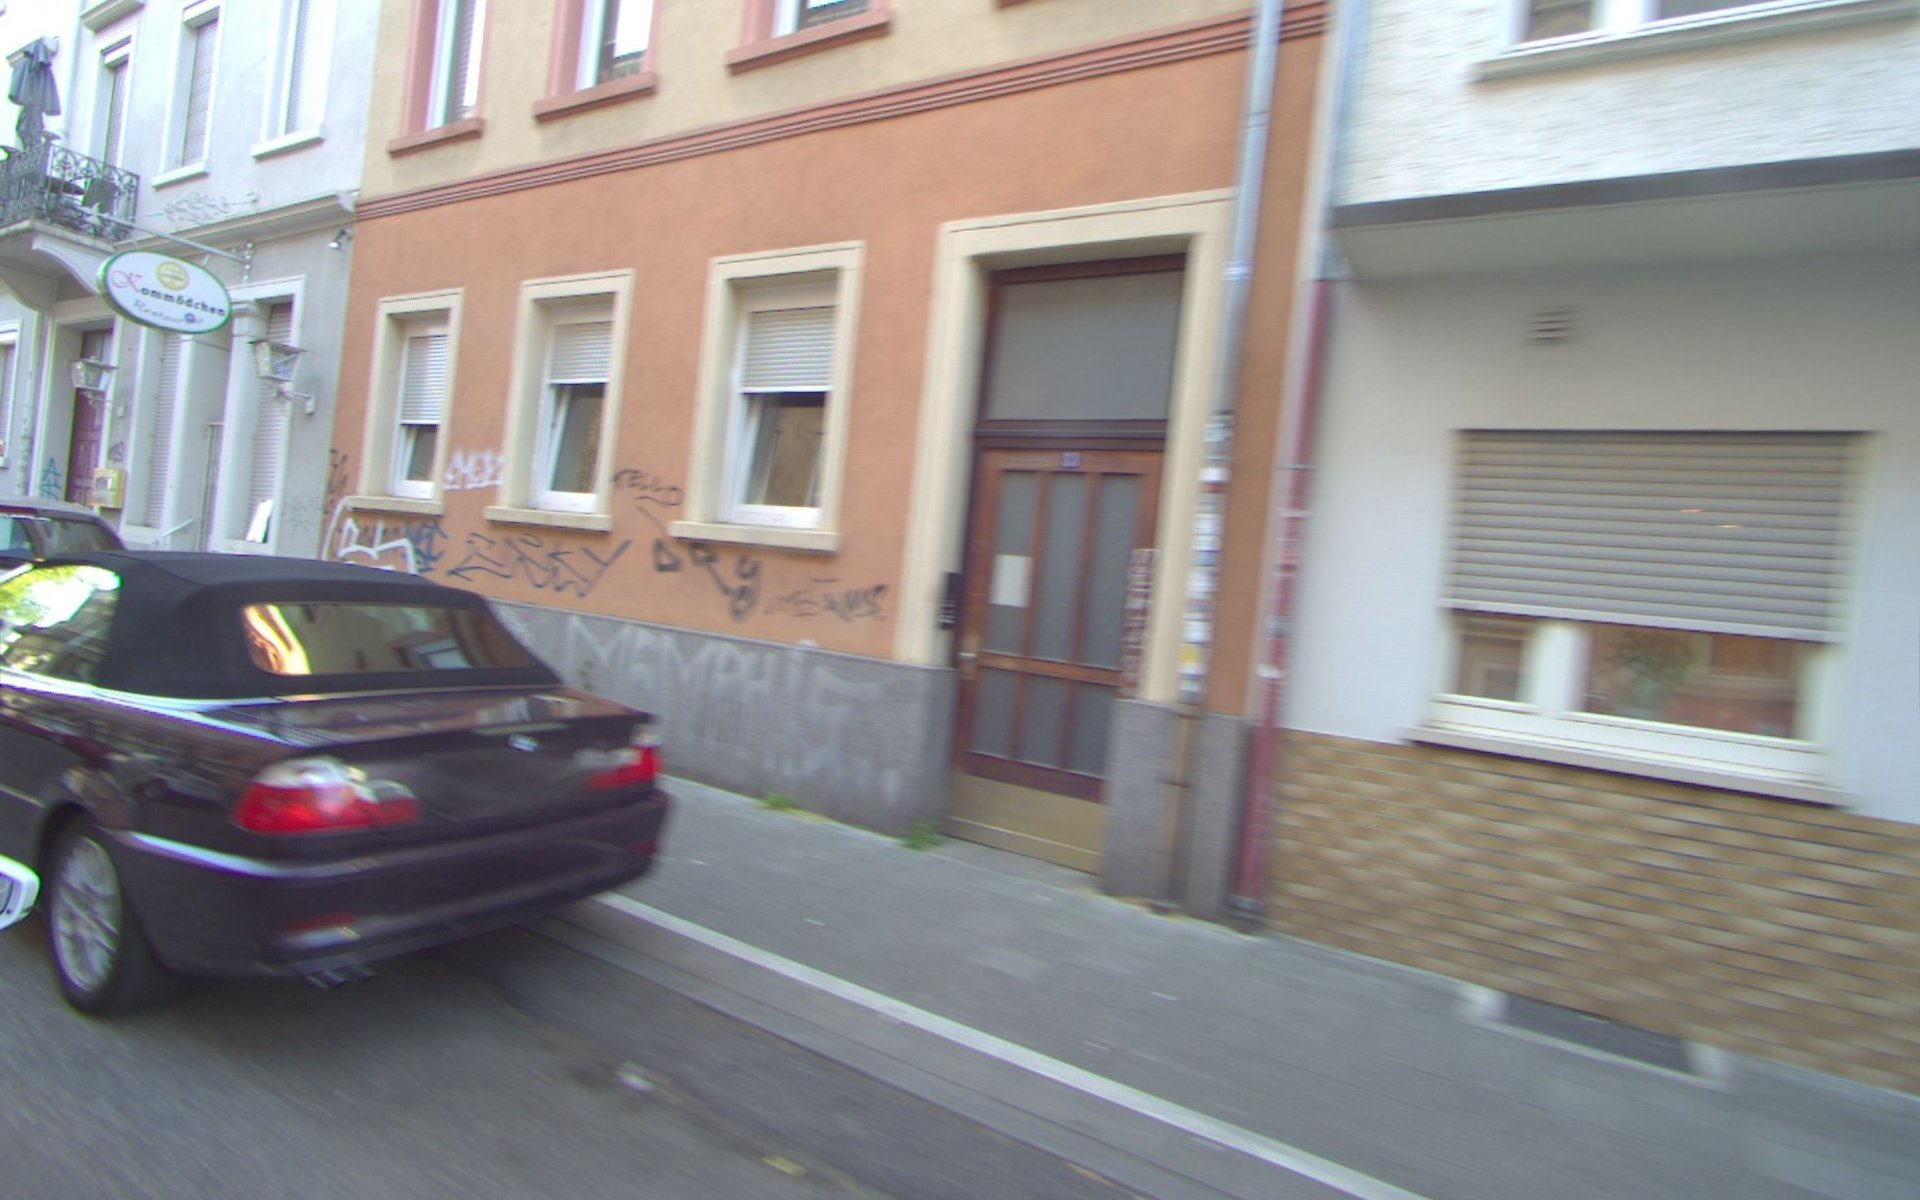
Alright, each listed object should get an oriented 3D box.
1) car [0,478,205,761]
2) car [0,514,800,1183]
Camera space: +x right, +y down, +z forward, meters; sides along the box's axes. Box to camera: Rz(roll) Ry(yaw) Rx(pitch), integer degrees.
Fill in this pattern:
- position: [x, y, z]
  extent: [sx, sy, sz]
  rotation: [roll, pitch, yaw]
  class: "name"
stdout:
- position: [-7.152, -0.061, 6.949]
  extent: [4.122, 1.615, 1.682]
  rotation: [6, -2, 34]
  class: "car"
- position: [-3.021, 0.498, 4.186]
  extent: [4.419, 1.410, 1.771]
  rotation: [7, -2, 31]
  class: "car"
